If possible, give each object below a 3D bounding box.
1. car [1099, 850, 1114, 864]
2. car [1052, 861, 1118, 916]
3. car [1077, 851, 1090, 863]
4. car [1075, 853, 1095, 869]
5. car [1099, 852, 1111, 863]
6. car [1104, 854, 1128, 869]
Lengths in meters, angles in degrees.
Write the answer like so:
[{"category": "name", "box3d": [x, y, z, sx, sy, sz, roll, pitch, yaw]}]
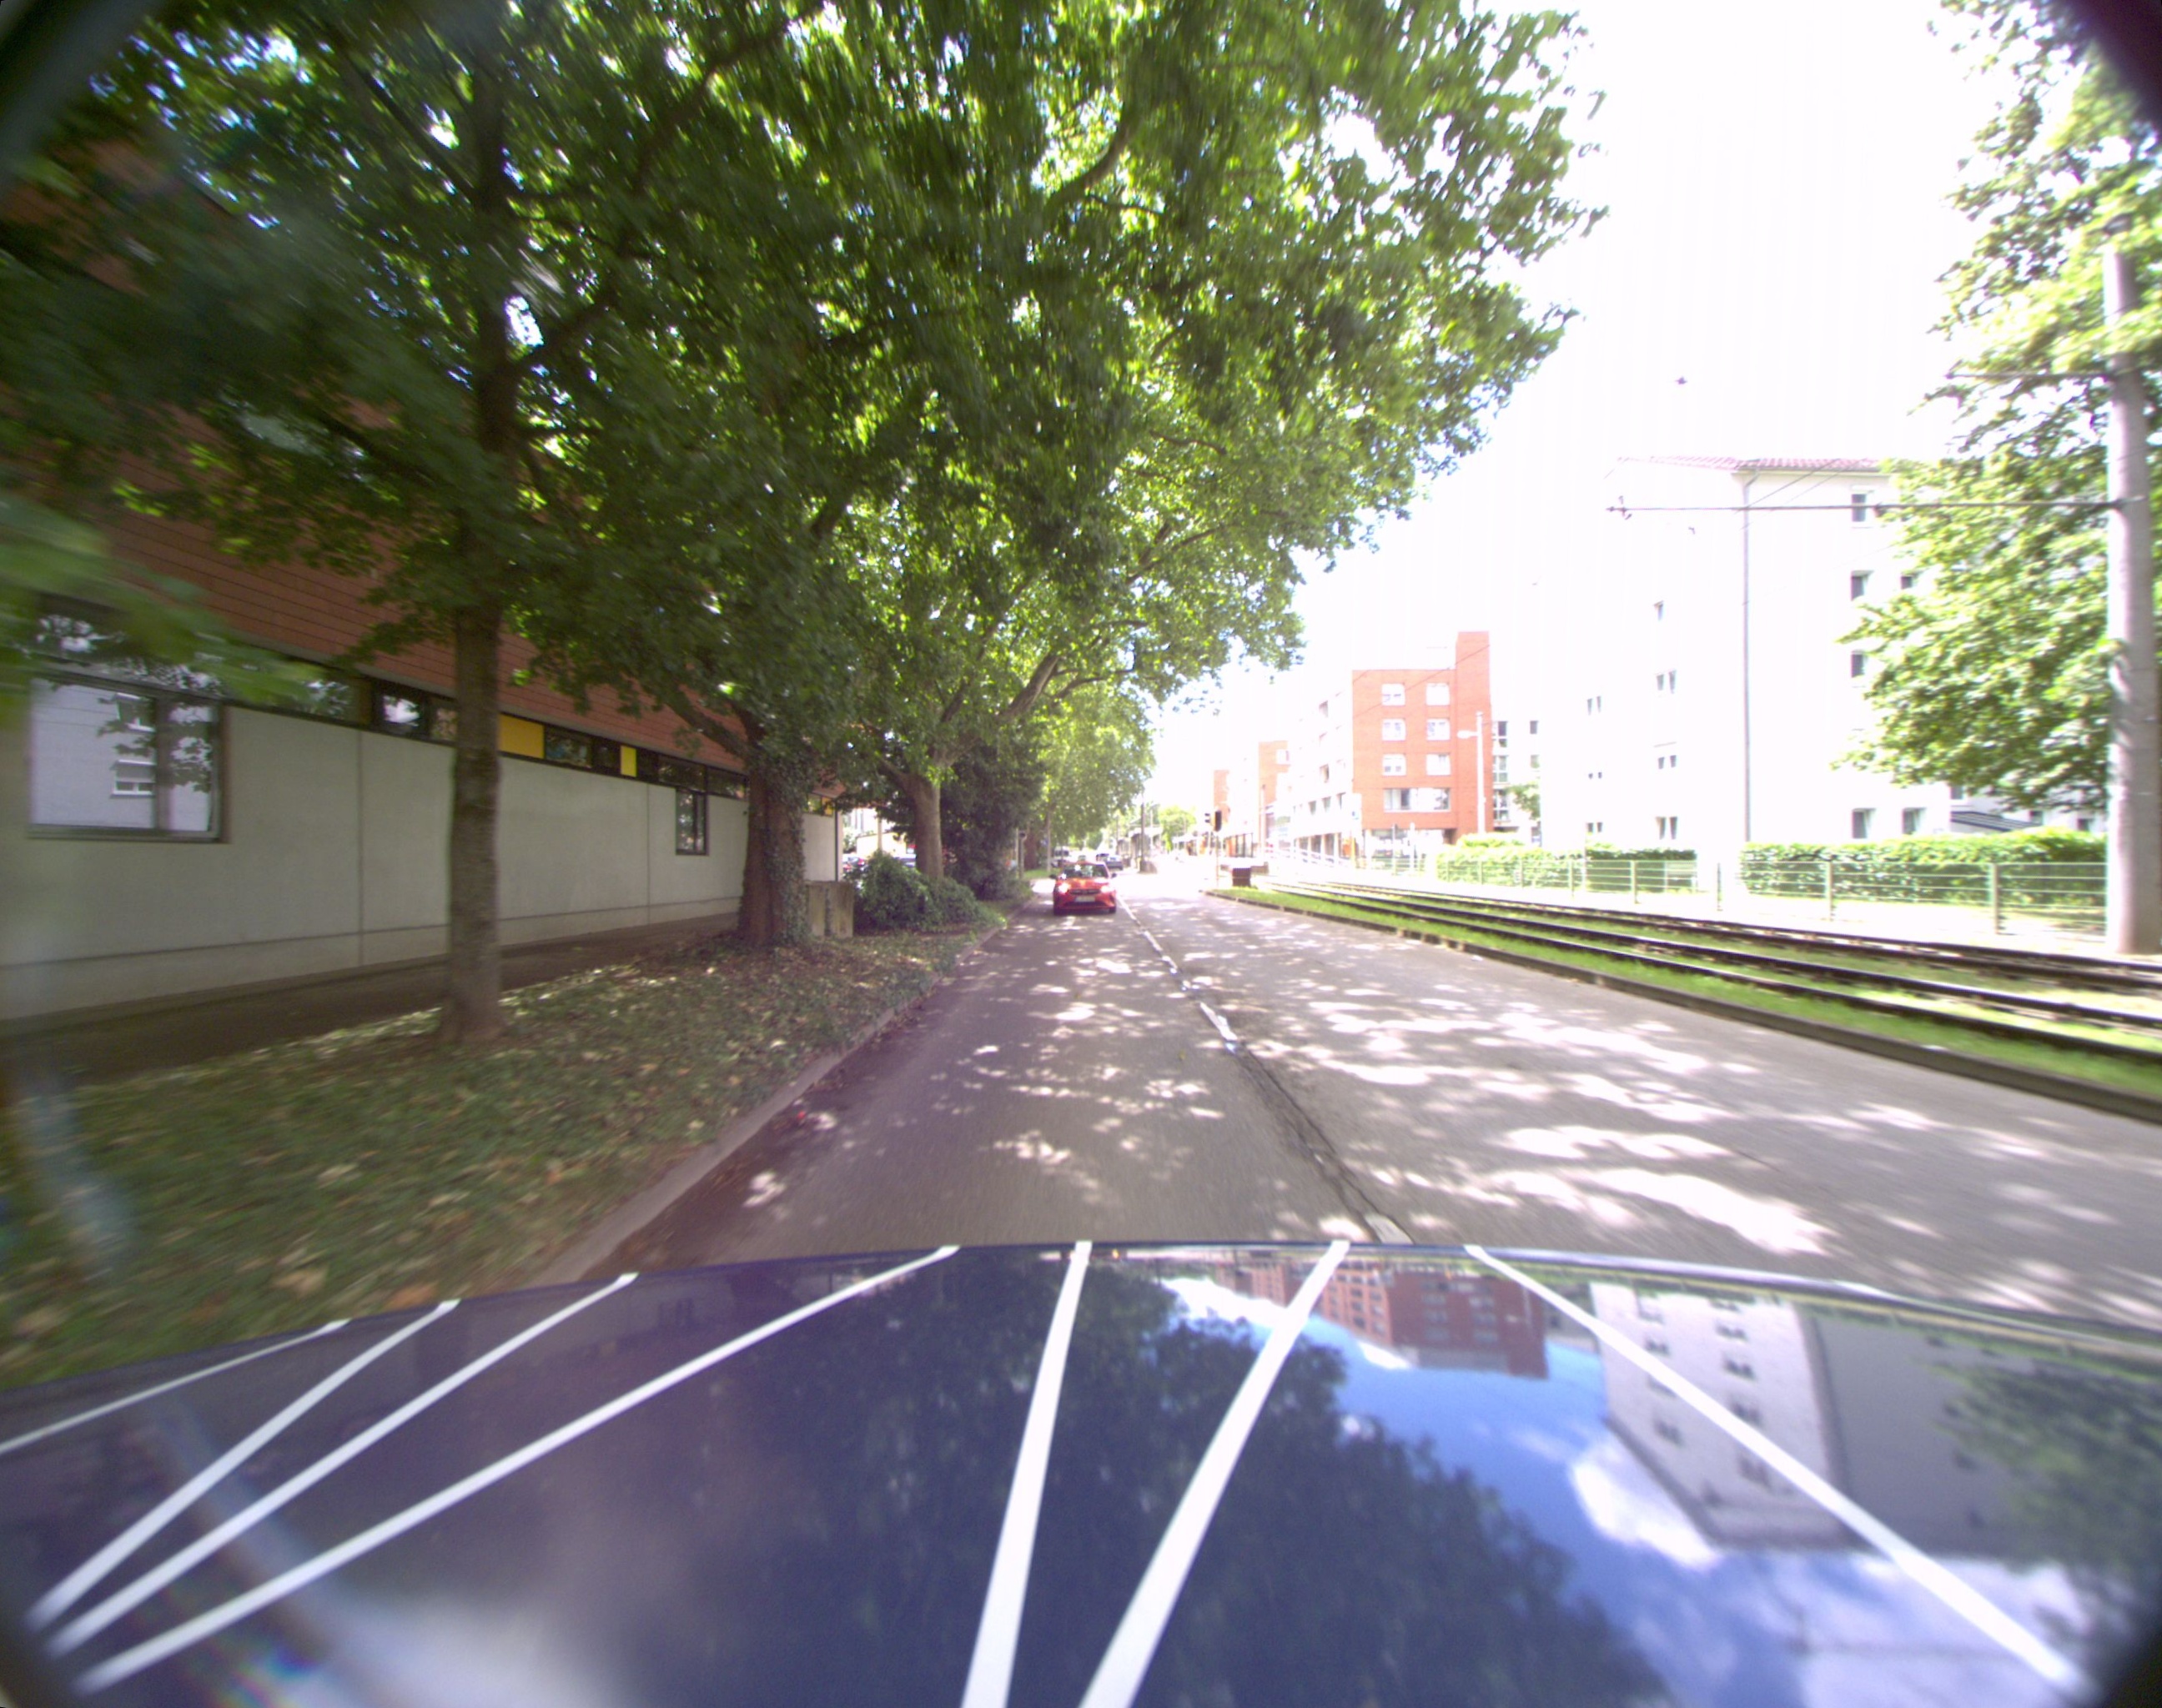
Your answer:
[{"category": "car", "box3d": [3.522, 0.437, 105.333, 1.998, 1.805, 4.000, -1, 0, 1]}, {"category": "car", "box3d": [0.144, 0.967, 22.528, 1.769, 1.425, 3.839, -2, -1, 1]}, {"category": "car", "box3d": [0.443, 0.593, 132.242, 1.998, 2.002, 4.001, -1, 0, 2]}, {"category": "car", "box3d": [0.396, 0.638, 69.222, 1.769, 1.405, 4.238, -1, 0, 1]}, {"category": "car", "box3d": [4.375, 0.607, 140.593, 1.999, 2.002, 4.000, -1, 0, 0]}, {"category": "car", "box3d": [3.367, 0.720, 73.834, 1.999, 1.346, 3.772, -1, 0, -3]}]
